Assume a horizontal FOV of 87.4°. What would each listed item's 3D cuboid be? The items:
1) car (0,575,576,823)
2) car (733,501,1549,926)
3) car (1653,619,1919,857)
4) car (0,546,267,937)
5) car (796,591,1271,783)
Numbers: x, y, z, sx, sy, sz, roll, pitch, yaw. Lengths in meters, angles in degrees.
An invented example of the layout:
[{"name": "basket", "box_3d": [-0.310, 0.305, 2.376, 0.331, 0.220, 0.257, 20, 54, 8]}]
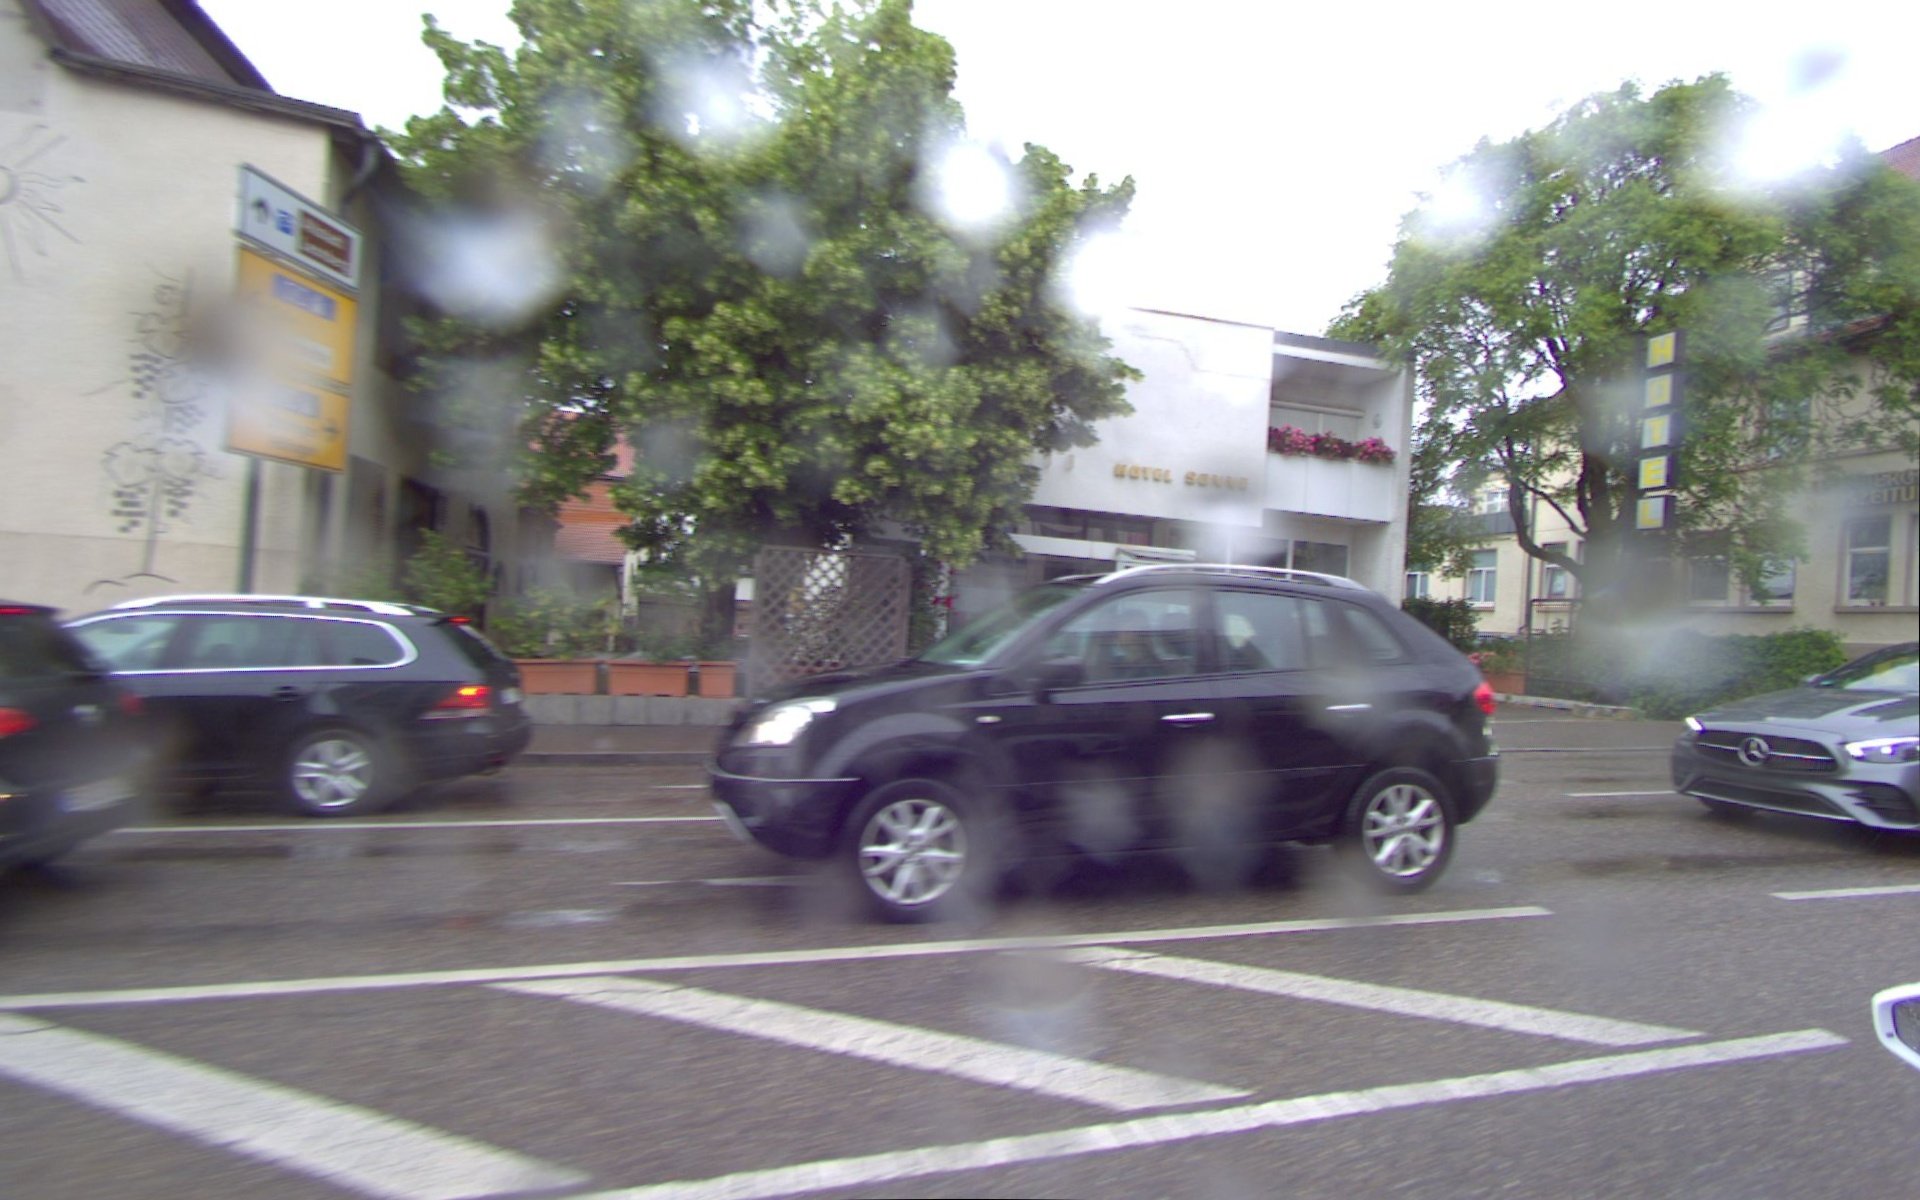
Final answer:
[{"name": "car", "box_3d": [-5.149, 0.671, 7.365, 4.115, 1.538, 1.774, 2, -2, -14]}, {"name": "car", "box_3d": [0.909, 0.575, 5.749, 4.243, 1.839, 1.774, 2, -2, -14]}, {"name": "car", "box_3d": [7.852, 0.944, 7.640, 4.463, 1.471, 1.774, 2, -2, -14]}, {"name": "car", "box_3d": [-5.807, 0.520, 4.313, 4.243, 1.524, 1.774, 2, -2, -14]}, {"name": "car", "box_3d": [0.617, 0.783, 9.462, 4.115, 1.538, 1.774, 2, -2, -14]}]
